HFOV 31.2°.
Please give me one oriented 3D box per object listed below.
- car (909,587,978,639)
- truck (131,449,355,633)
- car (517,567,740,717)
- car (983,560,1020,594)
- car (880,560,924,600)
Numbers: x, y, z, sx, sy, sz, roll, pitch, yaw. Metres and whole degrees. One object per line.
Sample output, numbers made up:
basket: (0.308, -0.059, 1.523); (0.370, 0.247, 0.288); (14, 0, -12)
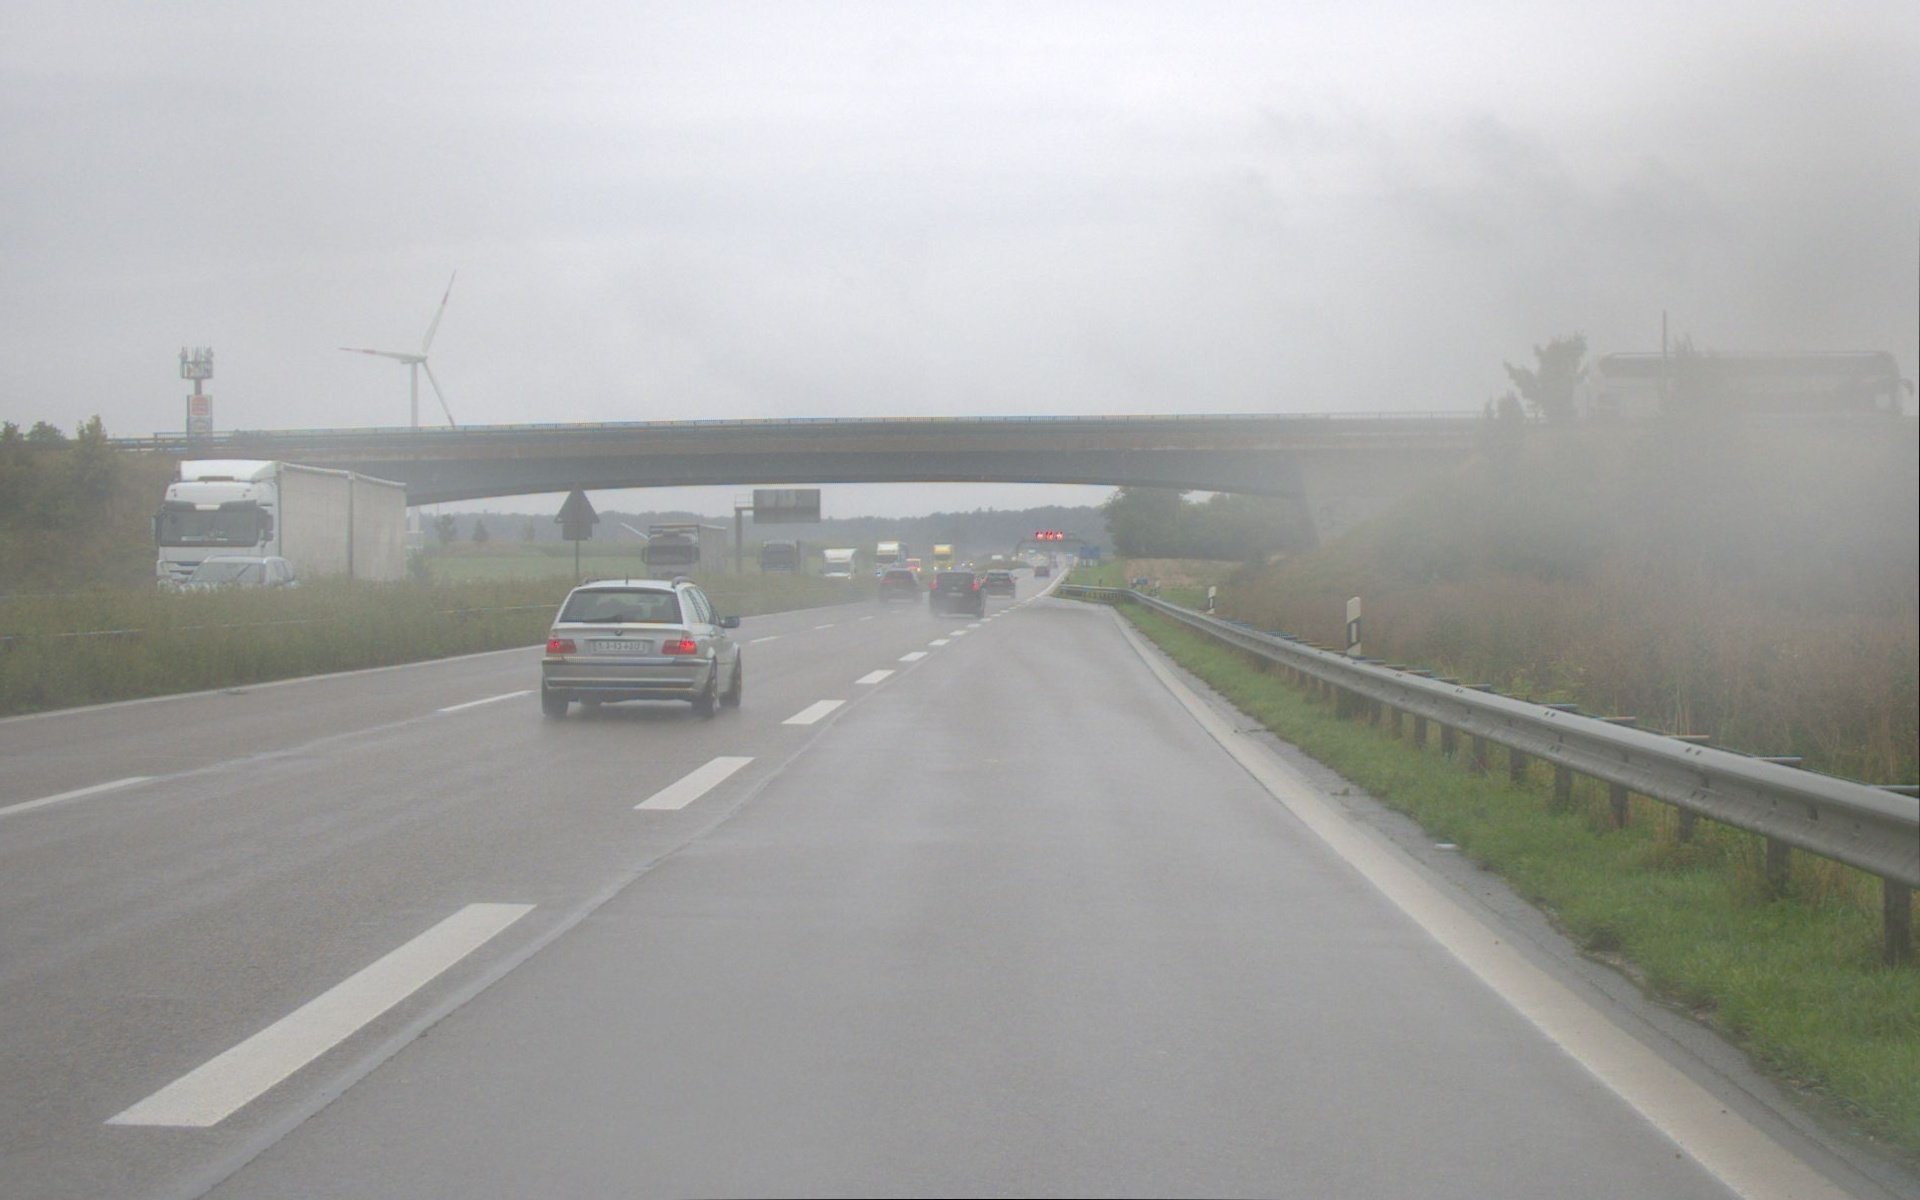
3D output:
car: (-0.528, 0.435, 114.826); (2.145, 1.630, 4.595); (1, 0, 1)
truck: (-17.950, -1.447, 86.877); (3.229, 4.370, 10.514); (0, 0, 1)
car: (-3.427, 0.405, 36.344); (1.874, 1.483, 4.796); (0, 0, 0)
car: (2.370, -1.303, 193.947); (1.993, 1.691, 4.000); (-2, 2, 1)
car: (-2.808, -0.979, 167.309); (1.993, 1.743, 4.001); (-2, 2, 1)
